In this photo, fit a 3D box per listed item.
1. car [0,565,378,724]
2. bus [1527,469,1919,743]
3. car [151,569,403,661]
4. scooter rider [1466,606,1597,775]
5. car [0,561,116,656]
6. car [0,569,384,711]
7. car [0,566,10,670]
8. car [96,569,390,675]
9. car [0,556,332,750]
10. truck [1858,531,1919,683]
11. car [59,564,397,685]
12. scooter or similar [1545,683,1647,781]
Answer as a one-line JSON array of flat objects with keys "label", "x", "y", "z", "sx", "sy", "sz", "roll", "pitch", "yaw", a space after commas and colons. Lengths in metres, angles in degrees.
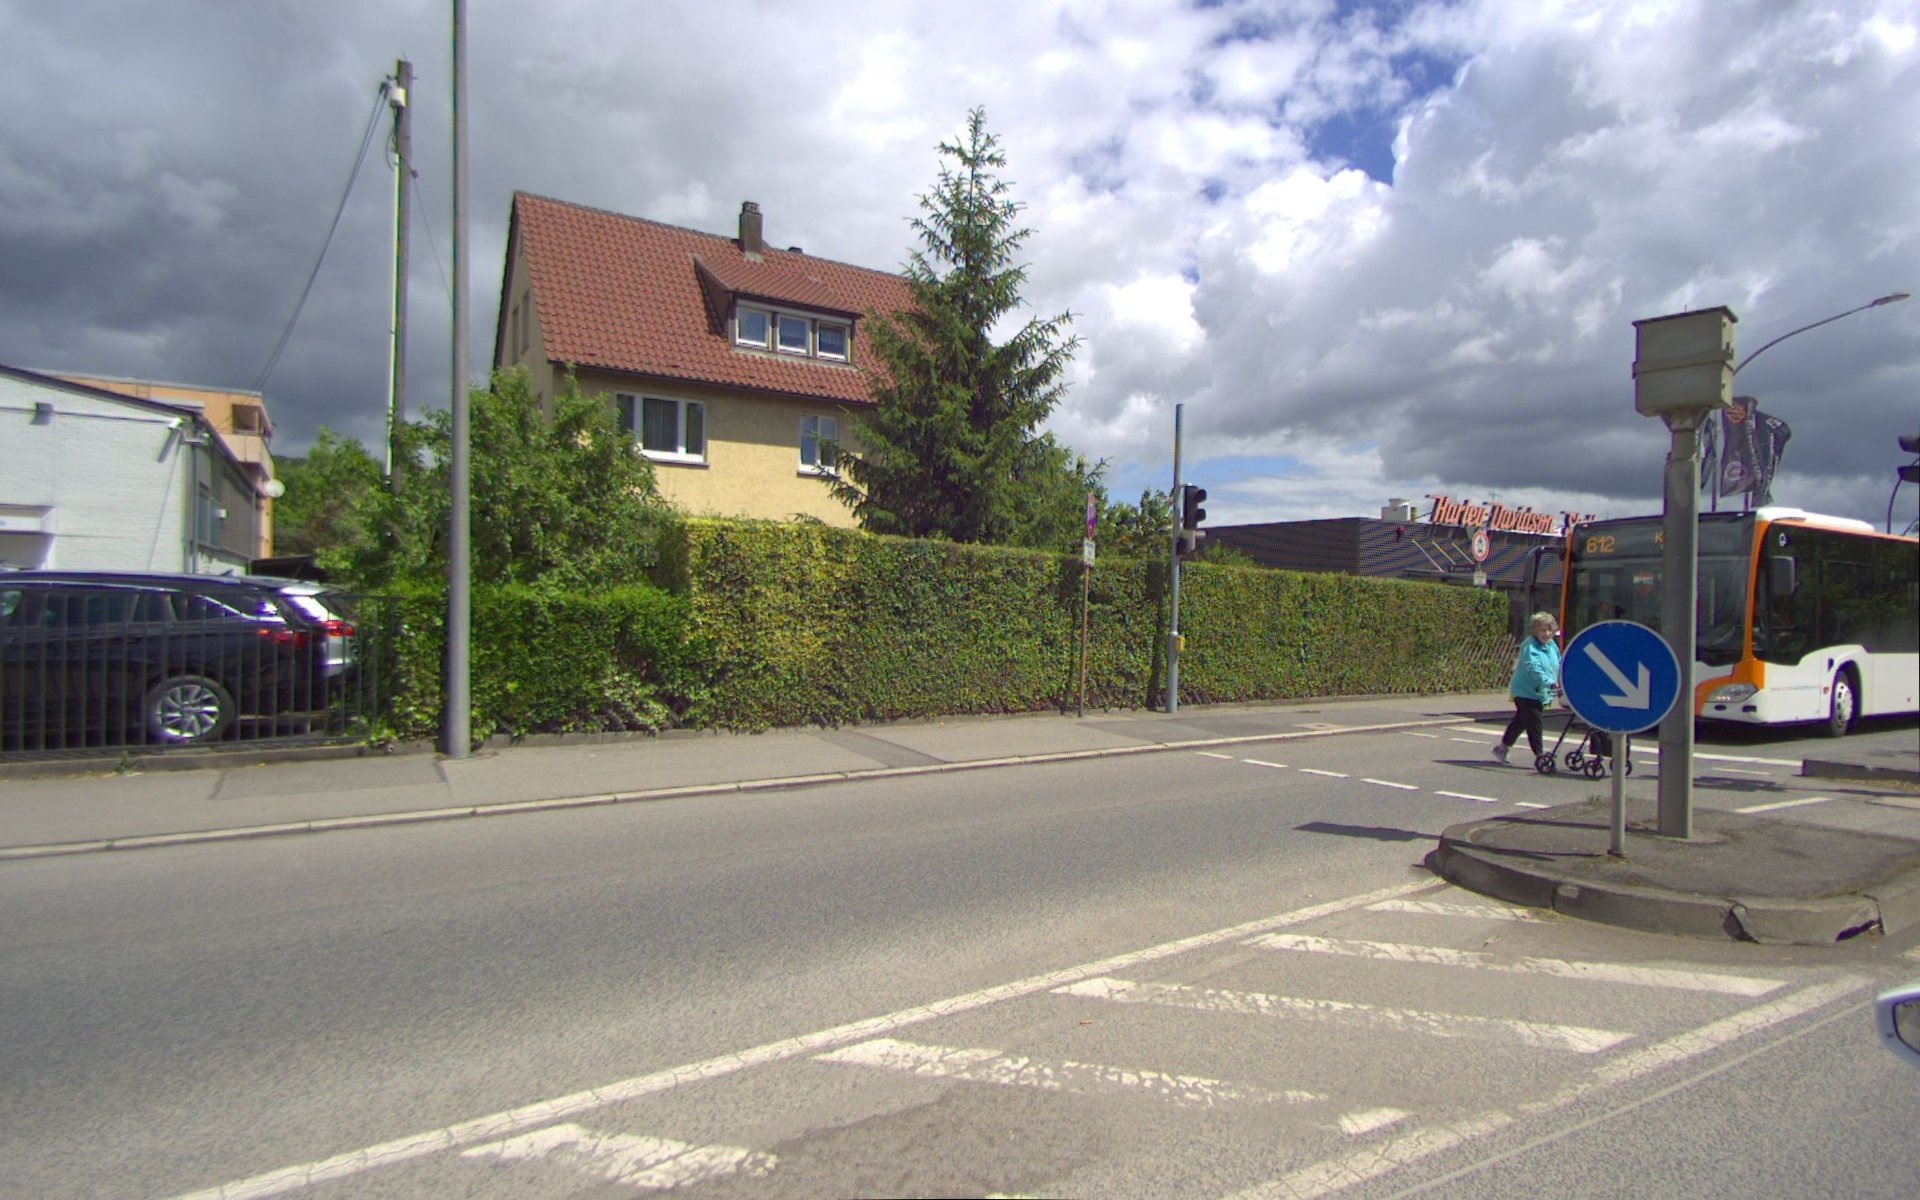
[{"label": "car", "x": -8.964, "y": 0.444, "z": 11.112, "sx": 4.224, "sy": 1.527, "sz": 2.140, "roll": 1, "pitch": 0, "yaw": -35}, {"label": "bus", "x": 14.043, "y": 0.244, "z": 16.409, "sx": 11.982, "sy": 3.309, "sz": 2.764, "roll": 2, "pitch": -1, "yaw": -31}, {"label": "car", "x": -13.422, "y": 0.314, "z": 19.909, "sx": 3.963, "sy": 1.639, "sz": 1.763, "roll": 2, "pitch": -1, "yaw": -37}, {"label": "scooter rider", "x": 5.790, "y": 0.875, "z": 10.201, "sx": 0.787, "sy": 1.611, "sz": 0.873, "roll": 1, "pitch": 0, "yaw": -31}, {"label": "car", "x": -17.408, "y": 0.132, "z": 17.526, "sx": 3.963, "sy": 1.639, "sz": 1.763, "roll": 2, "pitch": -1, "yaw": -37}, {"label": "car", "x": -10.008, "y": 0.497, "z": 13.350, "sx": 3.959, "sy": 1.639, "sz": 1.765, "roll": 1, "pitch": -1, "yaw": -34}, {"label": "car", "x": -16.549, "y": 0.244, "z": 14.457, "sx": 3.963, "sy": 1.639, "sz": 1.763, "roll": 2, "pitch": -1, "yaw": -37}, {"label": "car", "x": -12.278, "y": 0.388, "z": 17.434, "sx": 3.963, "sy": 1.639, "sz": 1.763, "roll": 2, "pitch": -1, "yaw": -37}, {"label": "car", "x": -8.073, "y": 0.421, "z": 8.859, "sx": 4.224, "sy": 1.527, "sz": 2.140, "roll": 1, "pitch": -1, "yaw": -35}, {"label": "truck", "x": 30.090, "y": 0.300, "z": 30.512, "sx": 9.068, "sy": 4.186, "sz": 2.410, "roll": 2, "pitch": 2, "yaw": -38}, {"label": "car", "x": -10.974, "y": 0.373, "z": 15.385, "sx": 3.959, "sy": 1.639, "sz": 1.765, "roll": 1, "pitch": -1, "yaw": -34}, {"label": "scooter or similar", "x": 6.098, "y": 1.242, "z": 9.635, "sx": 0.652, "sy": 0.843, "sz": 0.608, "roll": 1, "pitch": -1, "yaw": -31}]
